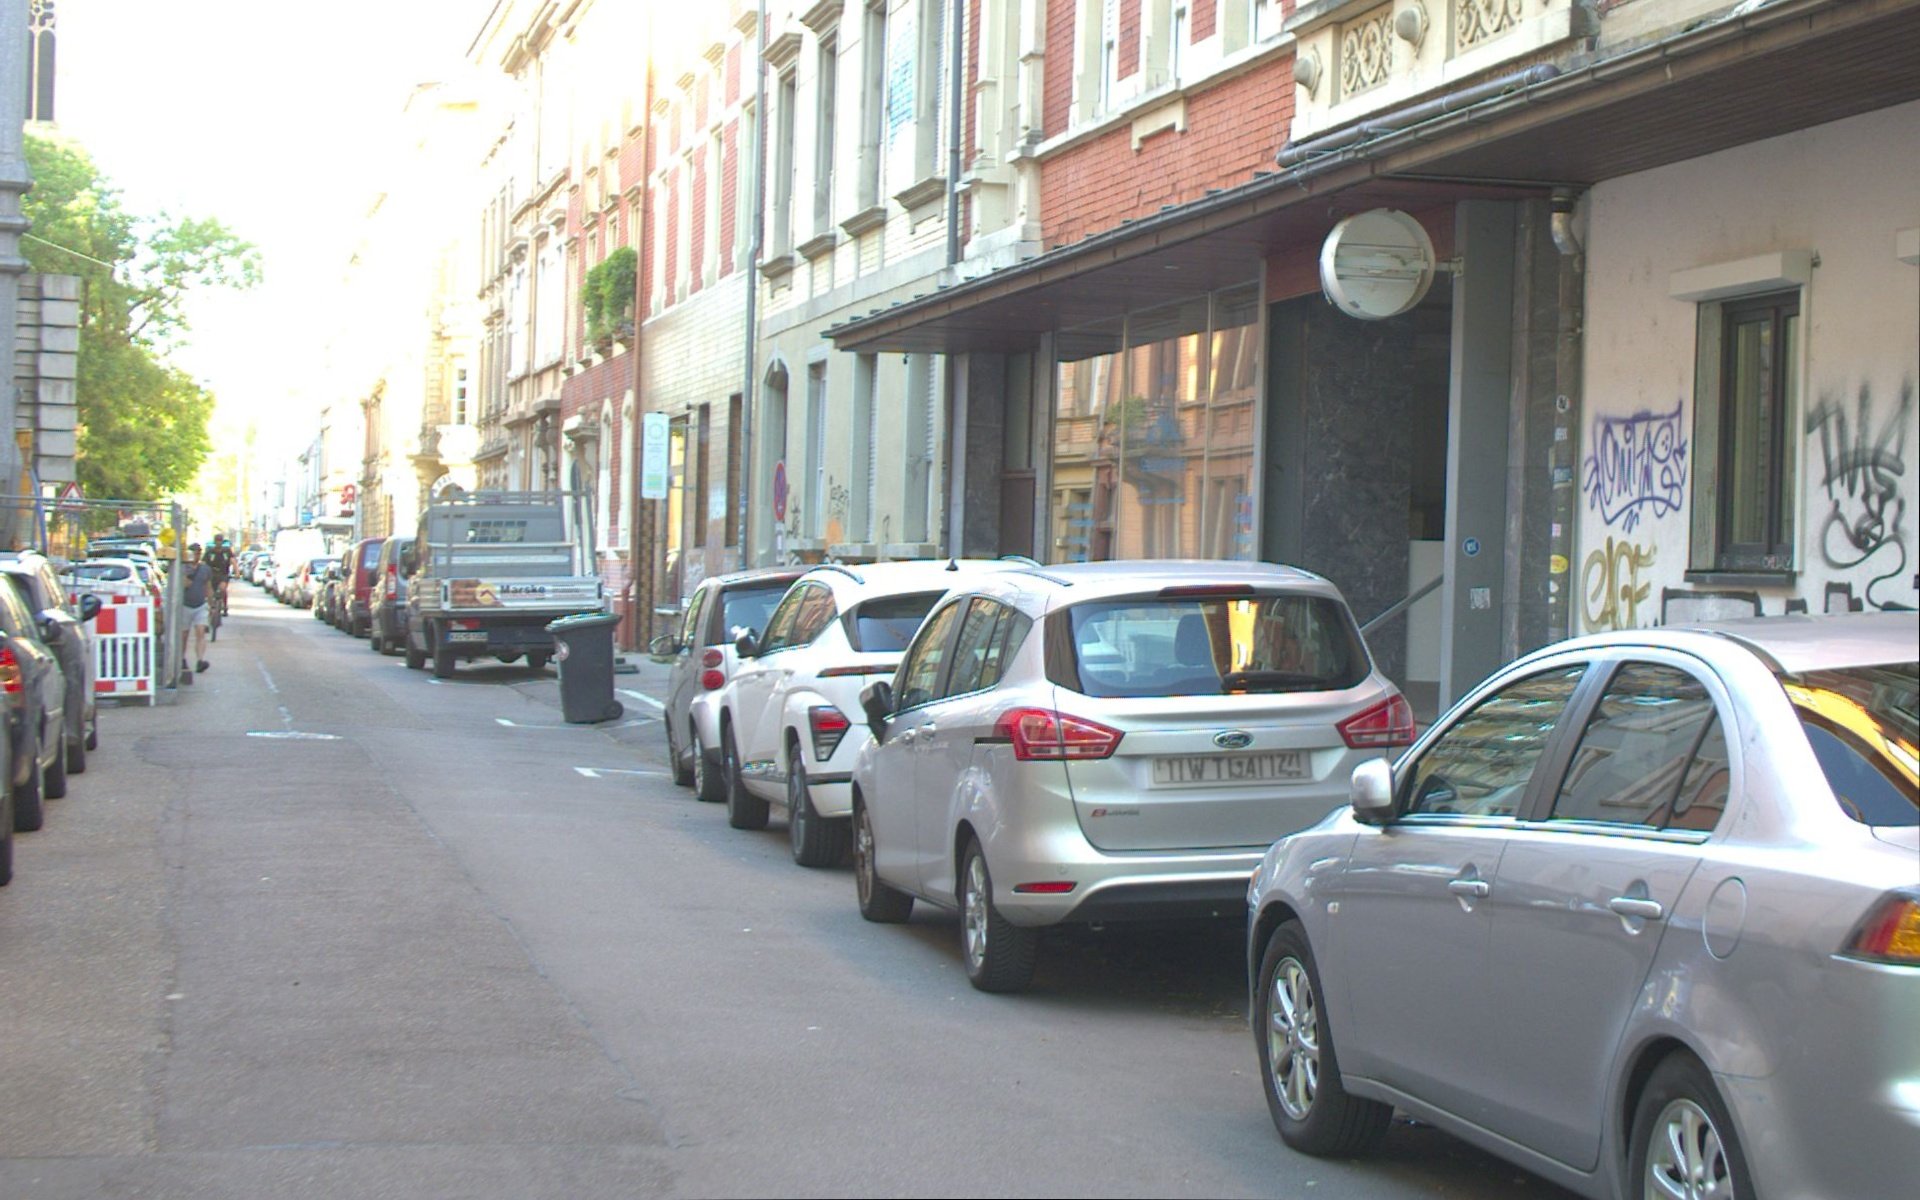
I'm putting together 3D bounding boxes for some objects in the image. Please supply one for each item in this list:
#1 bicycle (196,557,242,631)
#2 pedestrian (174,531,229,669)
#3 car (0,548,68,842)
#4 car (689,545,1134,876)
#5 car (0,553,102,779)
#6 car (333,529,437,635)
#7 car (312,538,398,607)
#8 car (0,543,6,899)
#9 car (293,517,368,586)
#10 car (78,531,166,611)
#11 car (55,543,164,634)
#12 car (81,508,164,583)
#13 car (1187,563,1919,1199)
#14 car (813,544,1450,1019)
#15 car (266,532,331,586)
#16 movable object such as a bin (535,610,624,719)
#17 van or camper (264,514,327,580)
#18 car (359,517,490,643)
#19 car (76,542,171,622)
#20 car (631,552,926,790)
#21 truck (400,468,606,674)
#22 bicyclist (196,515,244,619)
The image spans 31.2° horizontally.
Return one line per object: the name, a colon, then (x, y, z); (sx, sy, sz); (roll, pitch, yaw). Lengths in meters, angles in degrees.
bicycle: (-12.816, -0.111, 59.473); (0.724, 1.182, 2.043); (2, 1, -12)
pedestrian: (-9.619, -0.002, 43.567); (0.657, 1.727, 0.720); (-1, 1, -13)
car: (-6.044, 0.447, 19.605); (1.674, 1.506, 4.416); (1, 0, -13)
car: (-0.404, 0.545, 19.641); (1.746, 1.670, 4.342); (1, 0, -11)
car: (-7.103, 0.398, 24.727); (1.674, 1.472, 4.609); (1, 0, -13)
car: (-11.494, -0.365, 68.624); (1.674, 2.024, 3.870); (1, 0, -15)
car: (-14.417, -0.661, 81.792); (1.674, 1.566, 3.870); (1, 0, -15)
car: (-4.840, 0.529, 14.088); (1.728, 1.534, 4.379); (0, 1, -15)
car: (-19.367, -1.494, 105.724); (1.993, 2.007, 4.001); (2, 1, -14)
car: (-17.166, -0.594, 70.341); (1.674, 1.566, 3.870); (1, 0, -15)
car: (-14.115, -0.206, 56.976); (1.674, 1.440, 3.870); (1, 0, -15)
car: (-18.409, -1.186, 75.473); (1.674, 1.566, 3.870); (1, 0, -15)
car: (1.966, 0.740, 8.063); (1.720, 1.557, 4.400); (1, 1, -12)
car: (0.540, 0.629, 14.025); (1.639, 1.650, 3.870); (2, 0, -12)
car: (-22.928, -1.425, 119.094); (1.993, 1.842, 4.001); (0, 1, -14)
movable object such as a bin: (-3.791, 0.638, 34.216); (0.795, 1.052, 0.660); (1, 1, -12)
van or camper: (-25.854, -2.052, 133.605); (1.993, 2.500, 4.204); (0, 1, -16)
car: (-8.820, -0.339, 56.414); (1.674, 1.956, 4.110); (1, 0, -15)
car: (-15.979, -0.357, 65.595); (1.674, 1.440, 3.870); (1, 0, -15)
car: (-1.380, 0.451, 24.738); (1.596, 1.555, 3.815); (1, 1, -11)
truck: (-6.215, -0.404, 46.225); (2.189, 2.598, 5.236); (0, 1, -13)
bicyclist: (-12.799, -0.571, 59.480); (0.730, 1.755, 0.835); (2, 1, -12)
